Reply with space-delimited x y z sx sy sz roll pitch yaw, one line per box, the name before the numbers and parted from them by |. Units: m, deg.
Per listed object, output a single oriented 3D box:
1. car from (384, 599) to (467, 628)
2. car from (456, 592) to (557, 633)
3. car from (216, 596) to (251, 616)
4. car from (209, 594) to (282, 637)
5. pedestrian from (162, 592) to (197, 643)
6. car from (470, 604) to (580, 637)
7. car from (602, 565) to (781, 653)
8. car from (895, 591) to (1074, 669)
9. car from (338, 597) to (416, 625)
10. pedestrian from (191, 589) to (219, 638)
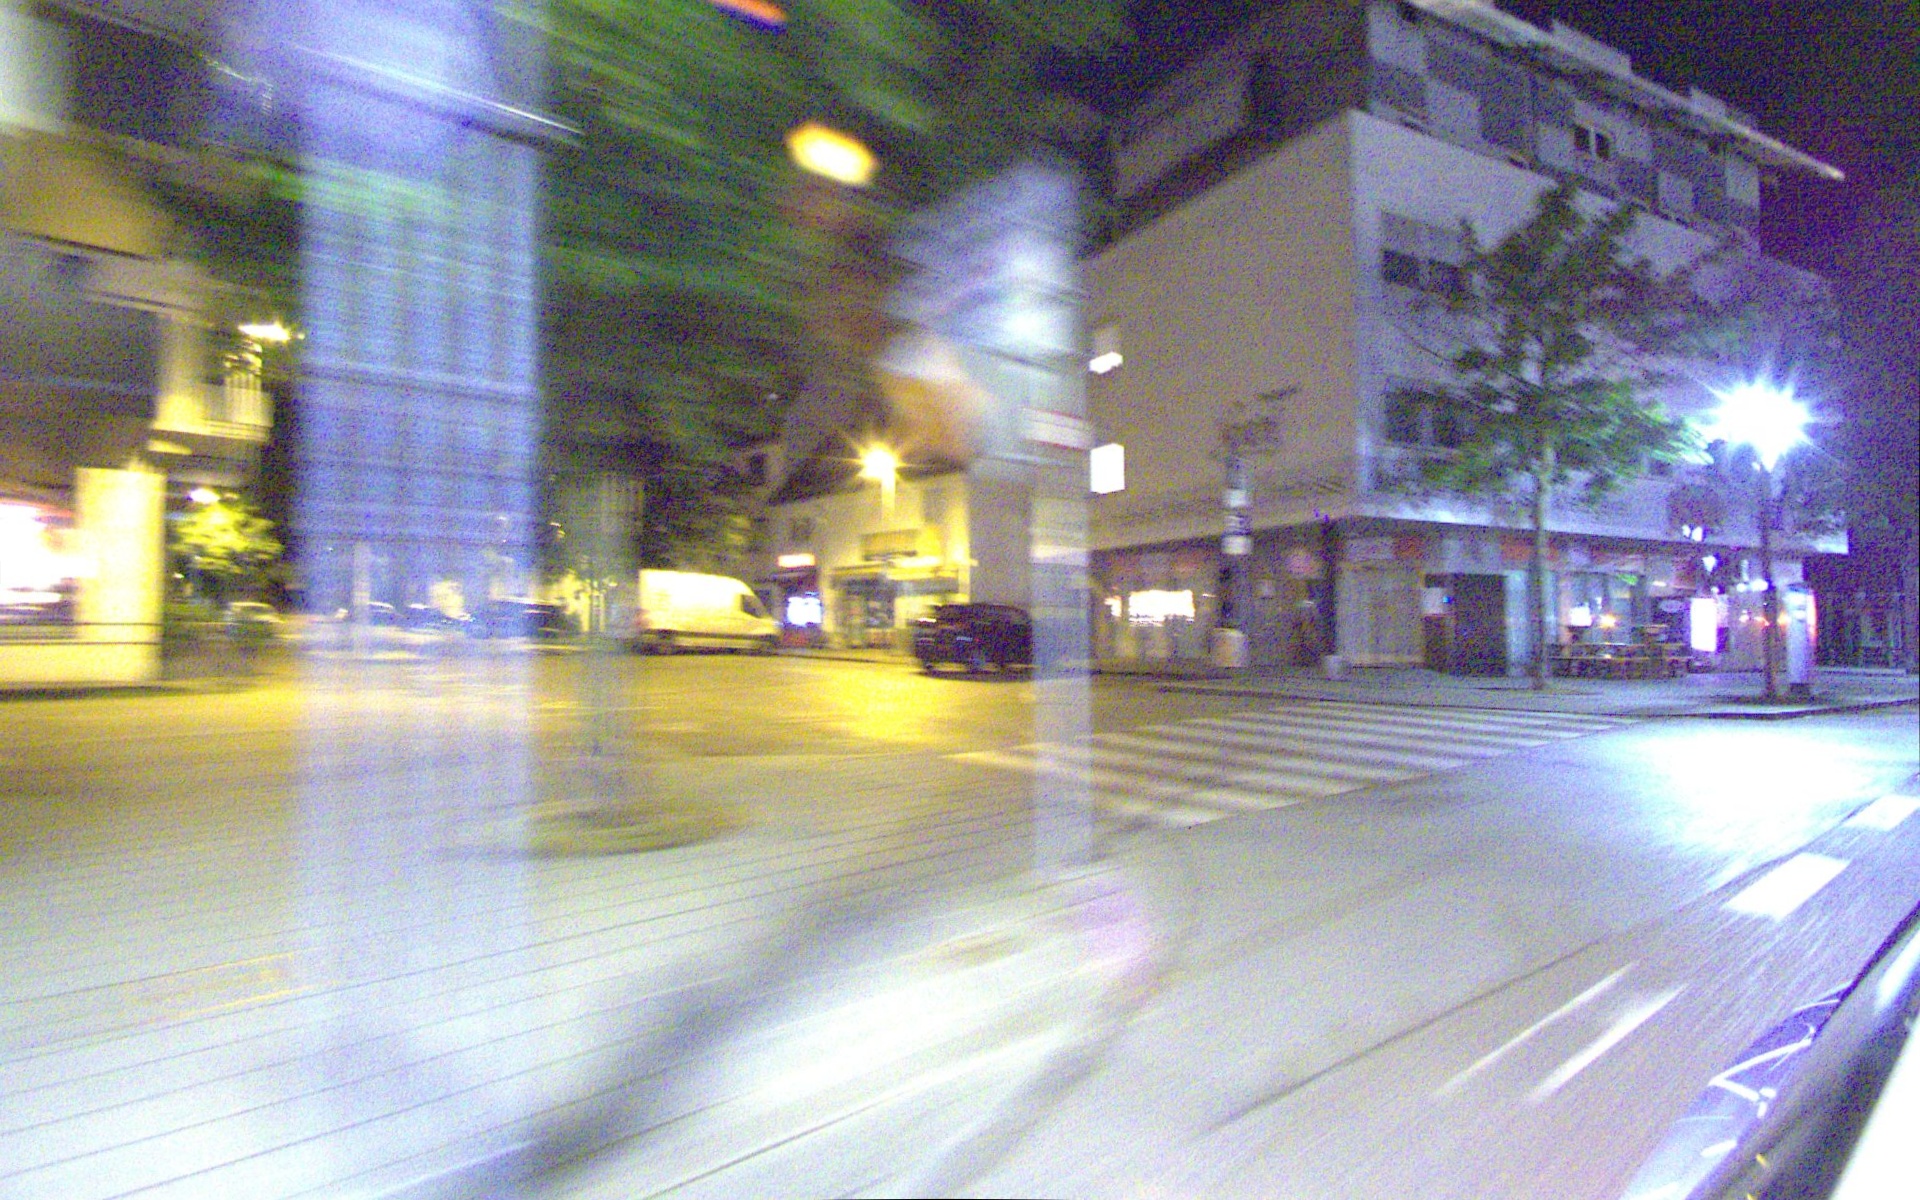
car | -32.242 0.841 61.070 4.137 1.648 1.879 3 -2 -39
car | -22.331 0.637 49.876 4.138 1.890 1.997 3 -2 -40
car | -65.633 0.568 91.373 1.913 1.716 4.201 3 -2 -45
car | -30.835 0.650 43.631 1.966 1.716 4.204 3 -2 -43
pedestrian | -26.145 0.575 33.889 0.847 1.668 0.788 -1 -1 -43
car | -20.533 0.967 47.855 4.407 1.450 1.997 3 -2 -40
car | -8.594 0.364 32.876 1.991 2.624 5.422 -2 -3 41
car | 0.654 0.747 24.388 4.141 1.716 1.995 3 -3 -43
car | -39.037 0.731 67.791 4.139 1.716 1.996 3 -2 -42
pedestrian | -26.394 0.467 35.361 0.704 1.668 0.611 -1 -1 -45
